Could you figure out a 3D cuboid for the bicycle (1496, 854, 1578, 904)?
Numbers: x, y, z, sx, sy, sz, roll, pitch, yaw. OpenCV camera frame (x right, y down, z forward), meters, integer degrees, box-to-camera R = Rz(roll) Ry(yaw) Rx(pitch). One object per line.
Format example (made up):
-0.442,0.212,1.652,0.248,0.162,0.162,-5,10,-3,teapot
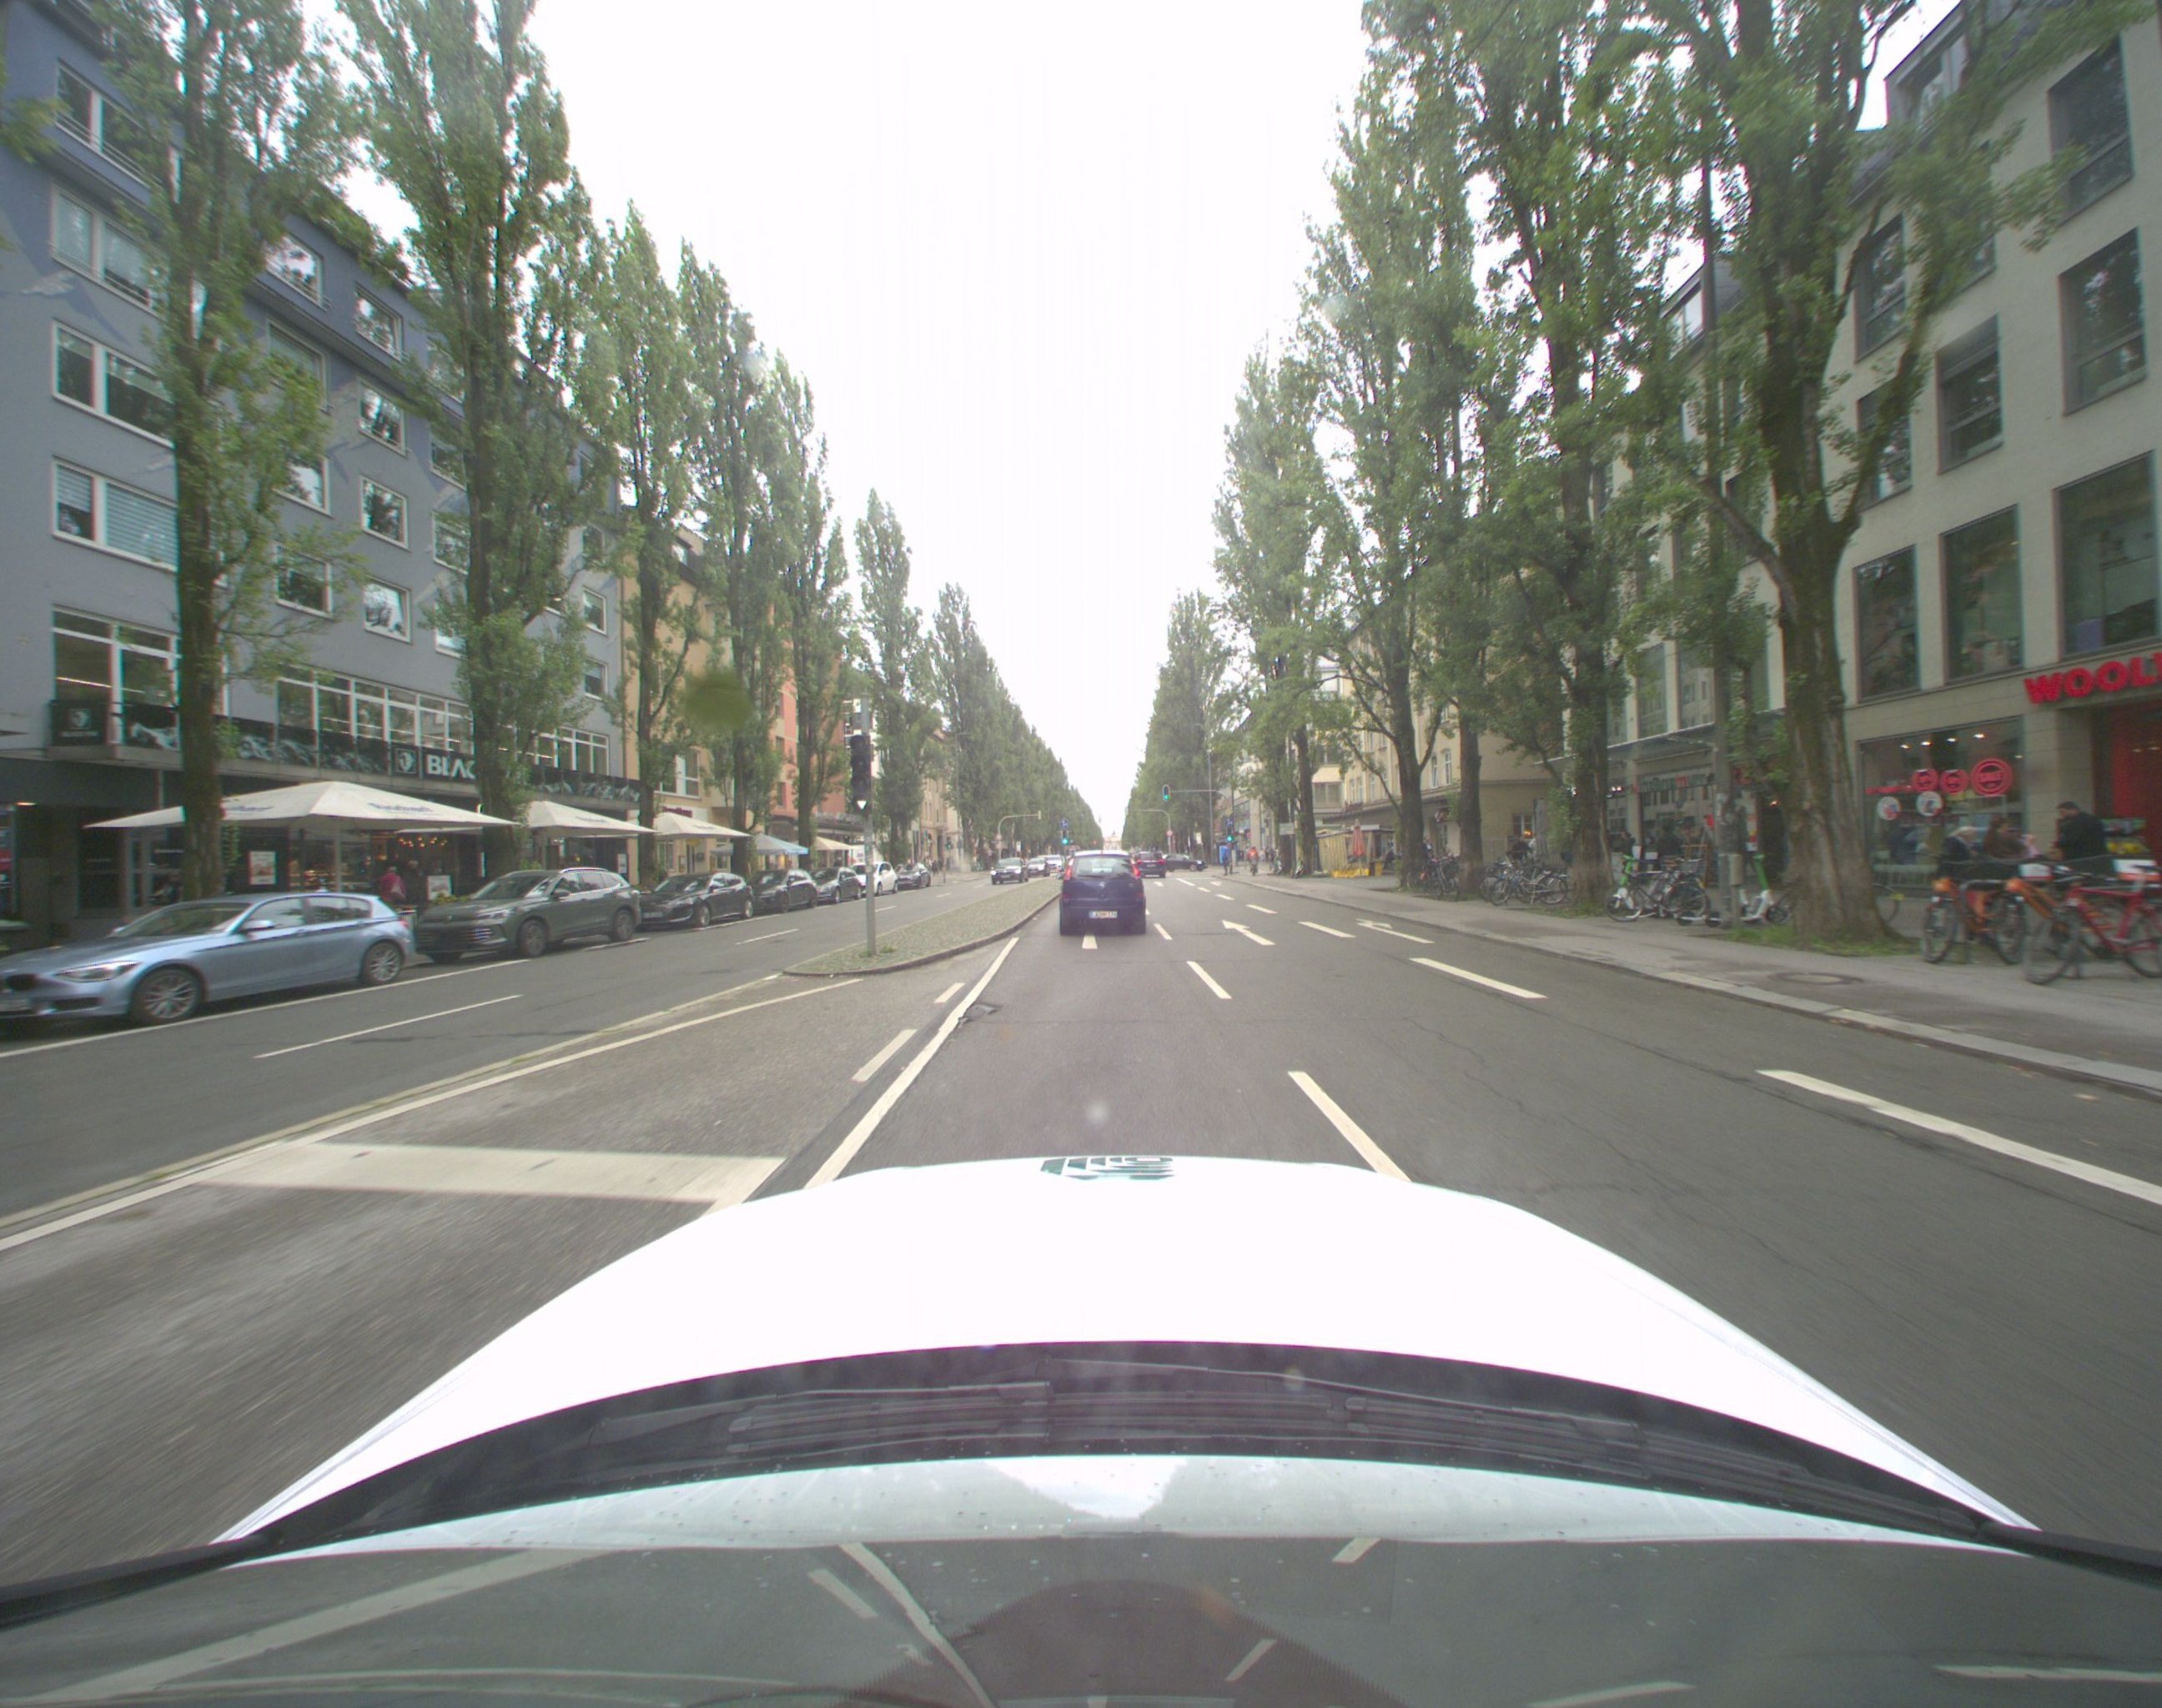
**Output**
11.059,0.607,19.753,1.863,1.135,0.339,-2,0,-7,bicycle

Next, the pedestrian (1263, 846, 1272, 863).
19.944,0.083,87.004,0.747,1.758,0.711,-1,0,3,pedestrian

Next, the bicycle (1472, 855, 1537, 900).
11.126,0.619,21.413,1.673,1.117,0.285,-2,0,-11,bicycle

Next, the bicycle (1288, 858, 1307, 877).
11.229,0.685,42.250,0.506,0.975,1.770,-2,0,1,bicycle

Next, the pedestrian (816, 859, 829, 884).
-17.366,1.165,54.757,0.552,1.638,0.692,-2,0,1,pedestrian

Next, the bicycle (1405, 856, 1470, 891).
11.251,0.614,25.681,1.996,1.083,0.285,0,-1,-7,bicycle

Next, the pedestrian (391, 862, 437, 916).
-20.655,1.067,25.226,0.751,1.601,0.743,-2,0,1,pedestrian

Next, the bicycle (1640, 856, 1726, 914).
12.111,0.596,16.445,0.389,1.063,2.009,-3,0,6,bicycle

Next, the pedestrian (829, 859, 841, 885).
-16.634,1.207,55.143,0.552,1.717,0.692,-2,0,1,pedestrian

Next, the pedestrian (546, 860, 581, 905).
-19.410,1.052,30.568,0.737,1.641,0.757,-2,0,4,pedestrian

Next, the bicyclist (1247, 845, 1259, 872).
10.224,0.253,48.419,0.619,1.588,0.481,-2,0,1,bicyclist

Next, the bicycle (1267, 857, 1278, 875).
11.623,0.703,49.365,0.401,1.070,1.820,4,1,18,bicycle

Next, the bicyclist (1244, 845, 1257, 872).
10.243,0.260,49.179,0.619,1.588,0.753,-2,0,1,bicyclist

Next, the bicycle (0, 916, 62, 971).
-20.631,1.725,15.338,0.477,0.971,1.851,-2,0,3,bicycle

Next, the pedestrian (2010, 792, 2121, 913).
15.643,-0.030,12.960,0.748,1.854,0.822,-1,0,3,pedestrian

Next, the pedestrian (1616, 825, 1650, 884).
17.117,0.017,25.259,0.562,1.784,0.674,-2,0,3,pedestrian

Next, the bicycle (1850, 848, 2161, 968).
10.510,0.583,9.253,2.561,1.215,0.966,-2,0,2,bicycle

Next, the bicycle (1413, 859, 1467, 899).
10.238,0.692,23.299,0.433,1.061,2.000,-2,0,-8,bicycle

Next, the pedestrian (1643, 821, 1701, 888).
16.522,0.005,22.777,0.813,1.814,0.974,-2,0,-19,pedestrian

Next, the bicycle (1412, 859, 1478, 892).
11.305,0.664,25.311,1.996,0.945,0.285,-2,0,-7,bicycle

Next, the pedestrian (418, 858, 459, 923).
-22.415,1.259,28.417,0.777,2.211,0.732,-2,0,1,pedestrian

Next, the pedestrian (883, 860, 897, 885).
-13.878,1.323,59.236,0.721,1.771,0.778,-2,0,3,pedestrian

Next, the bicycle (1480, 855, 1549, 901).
11.198,0.610,21.046,1.660,1.107,0.395,-2,0,-10,bicycle

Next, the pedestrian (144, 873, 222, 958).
-19.440,1.306,17.644,0.815,1.754,0.756,-2,0,2,pedestrian

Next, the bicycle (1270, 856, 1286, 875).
11.379,0.670,47.133,0.506,1.048,1.770,-2,0,1,bicycle

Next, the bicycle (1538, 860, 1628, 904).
11.938,0.665,19.373,1.996,0.987,0.392,-1,-1,-7,bicycle

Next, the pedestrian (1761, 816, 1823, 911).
13.328,0.177,15.284,0.562,1.742,0.697,-1,0,5,pedestrian

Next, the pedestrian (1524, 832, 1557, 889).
15.138,0.205,26.840,0.619,1.819,0.691,-2,0,1,pedestrian

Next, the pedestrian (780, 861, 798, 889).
-17.970,1.291,50.130,0.777,1.668,0.802,-2,0,1,pedestrian

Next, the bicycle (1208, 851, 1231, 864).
14.863,0.359,87.287,2.334,1.252,0.633,-2,0,1,bicycle

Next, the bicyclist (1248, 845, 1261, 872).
10.205,0.249,47.967,0.619,1.588,0.391,-2,0,1,bicyclist

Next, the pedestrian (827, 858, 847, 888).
-14.924,1.160,49.765,0.729,1.796,0.997,-1,-1,20,pedestrian

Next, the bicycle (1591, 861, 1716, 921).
10.419,0.674,14.860,1.827,1.009,0.394,-3,0,11,bicycle

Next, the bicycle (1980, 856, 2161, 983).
10.140,0.615,7.953,1.890,1.127,0.686,-2,0,2,bicycle

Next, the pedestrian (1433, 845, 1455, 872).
17.793,0.217,39.898,0.772,1.264,0.700,-2,0,2,pedestrian

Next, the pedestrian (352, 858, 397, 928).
-23.025,1.248,26.549,0.777,2.211,0.692,-2,0,1,pedestrian

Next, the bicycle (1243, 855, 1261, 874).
10.249,0.641,48.895,0.624,1.087,2.264,-2,0,2,bicycle

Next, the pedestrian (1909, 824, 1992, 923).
13.803,0.300,12.941,0.562,1.520,0.697,-1,0,5,pedestrian

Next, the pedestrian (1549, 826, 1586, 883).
15.992,0.022,26.784,0.739,1.814,0.757,-2,0,5,pedestrian

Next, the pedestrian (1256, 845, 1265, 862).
19.127,-0.012,86.754,0.747,1.758,1.018,-2,0,3,pedestrian

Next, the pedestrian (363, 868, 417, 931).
-18.356,1.194,21.650,0.737,1.601,0.757,-2,0,4,pedestrian

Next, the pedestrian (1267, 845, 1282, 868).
14.994,0.189,63.248,0.670,1.703,0.850,0,-3,-41,pedestrian

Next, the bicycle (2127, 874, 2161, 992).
10.283,0.664,7.008,1.832,1.009,0.503,-2,0,2,bicycle

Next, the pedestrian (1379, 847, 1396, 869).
18.230,0.236,48.472,0.772,1.264,0.700,-2,0,2,pedestrian
